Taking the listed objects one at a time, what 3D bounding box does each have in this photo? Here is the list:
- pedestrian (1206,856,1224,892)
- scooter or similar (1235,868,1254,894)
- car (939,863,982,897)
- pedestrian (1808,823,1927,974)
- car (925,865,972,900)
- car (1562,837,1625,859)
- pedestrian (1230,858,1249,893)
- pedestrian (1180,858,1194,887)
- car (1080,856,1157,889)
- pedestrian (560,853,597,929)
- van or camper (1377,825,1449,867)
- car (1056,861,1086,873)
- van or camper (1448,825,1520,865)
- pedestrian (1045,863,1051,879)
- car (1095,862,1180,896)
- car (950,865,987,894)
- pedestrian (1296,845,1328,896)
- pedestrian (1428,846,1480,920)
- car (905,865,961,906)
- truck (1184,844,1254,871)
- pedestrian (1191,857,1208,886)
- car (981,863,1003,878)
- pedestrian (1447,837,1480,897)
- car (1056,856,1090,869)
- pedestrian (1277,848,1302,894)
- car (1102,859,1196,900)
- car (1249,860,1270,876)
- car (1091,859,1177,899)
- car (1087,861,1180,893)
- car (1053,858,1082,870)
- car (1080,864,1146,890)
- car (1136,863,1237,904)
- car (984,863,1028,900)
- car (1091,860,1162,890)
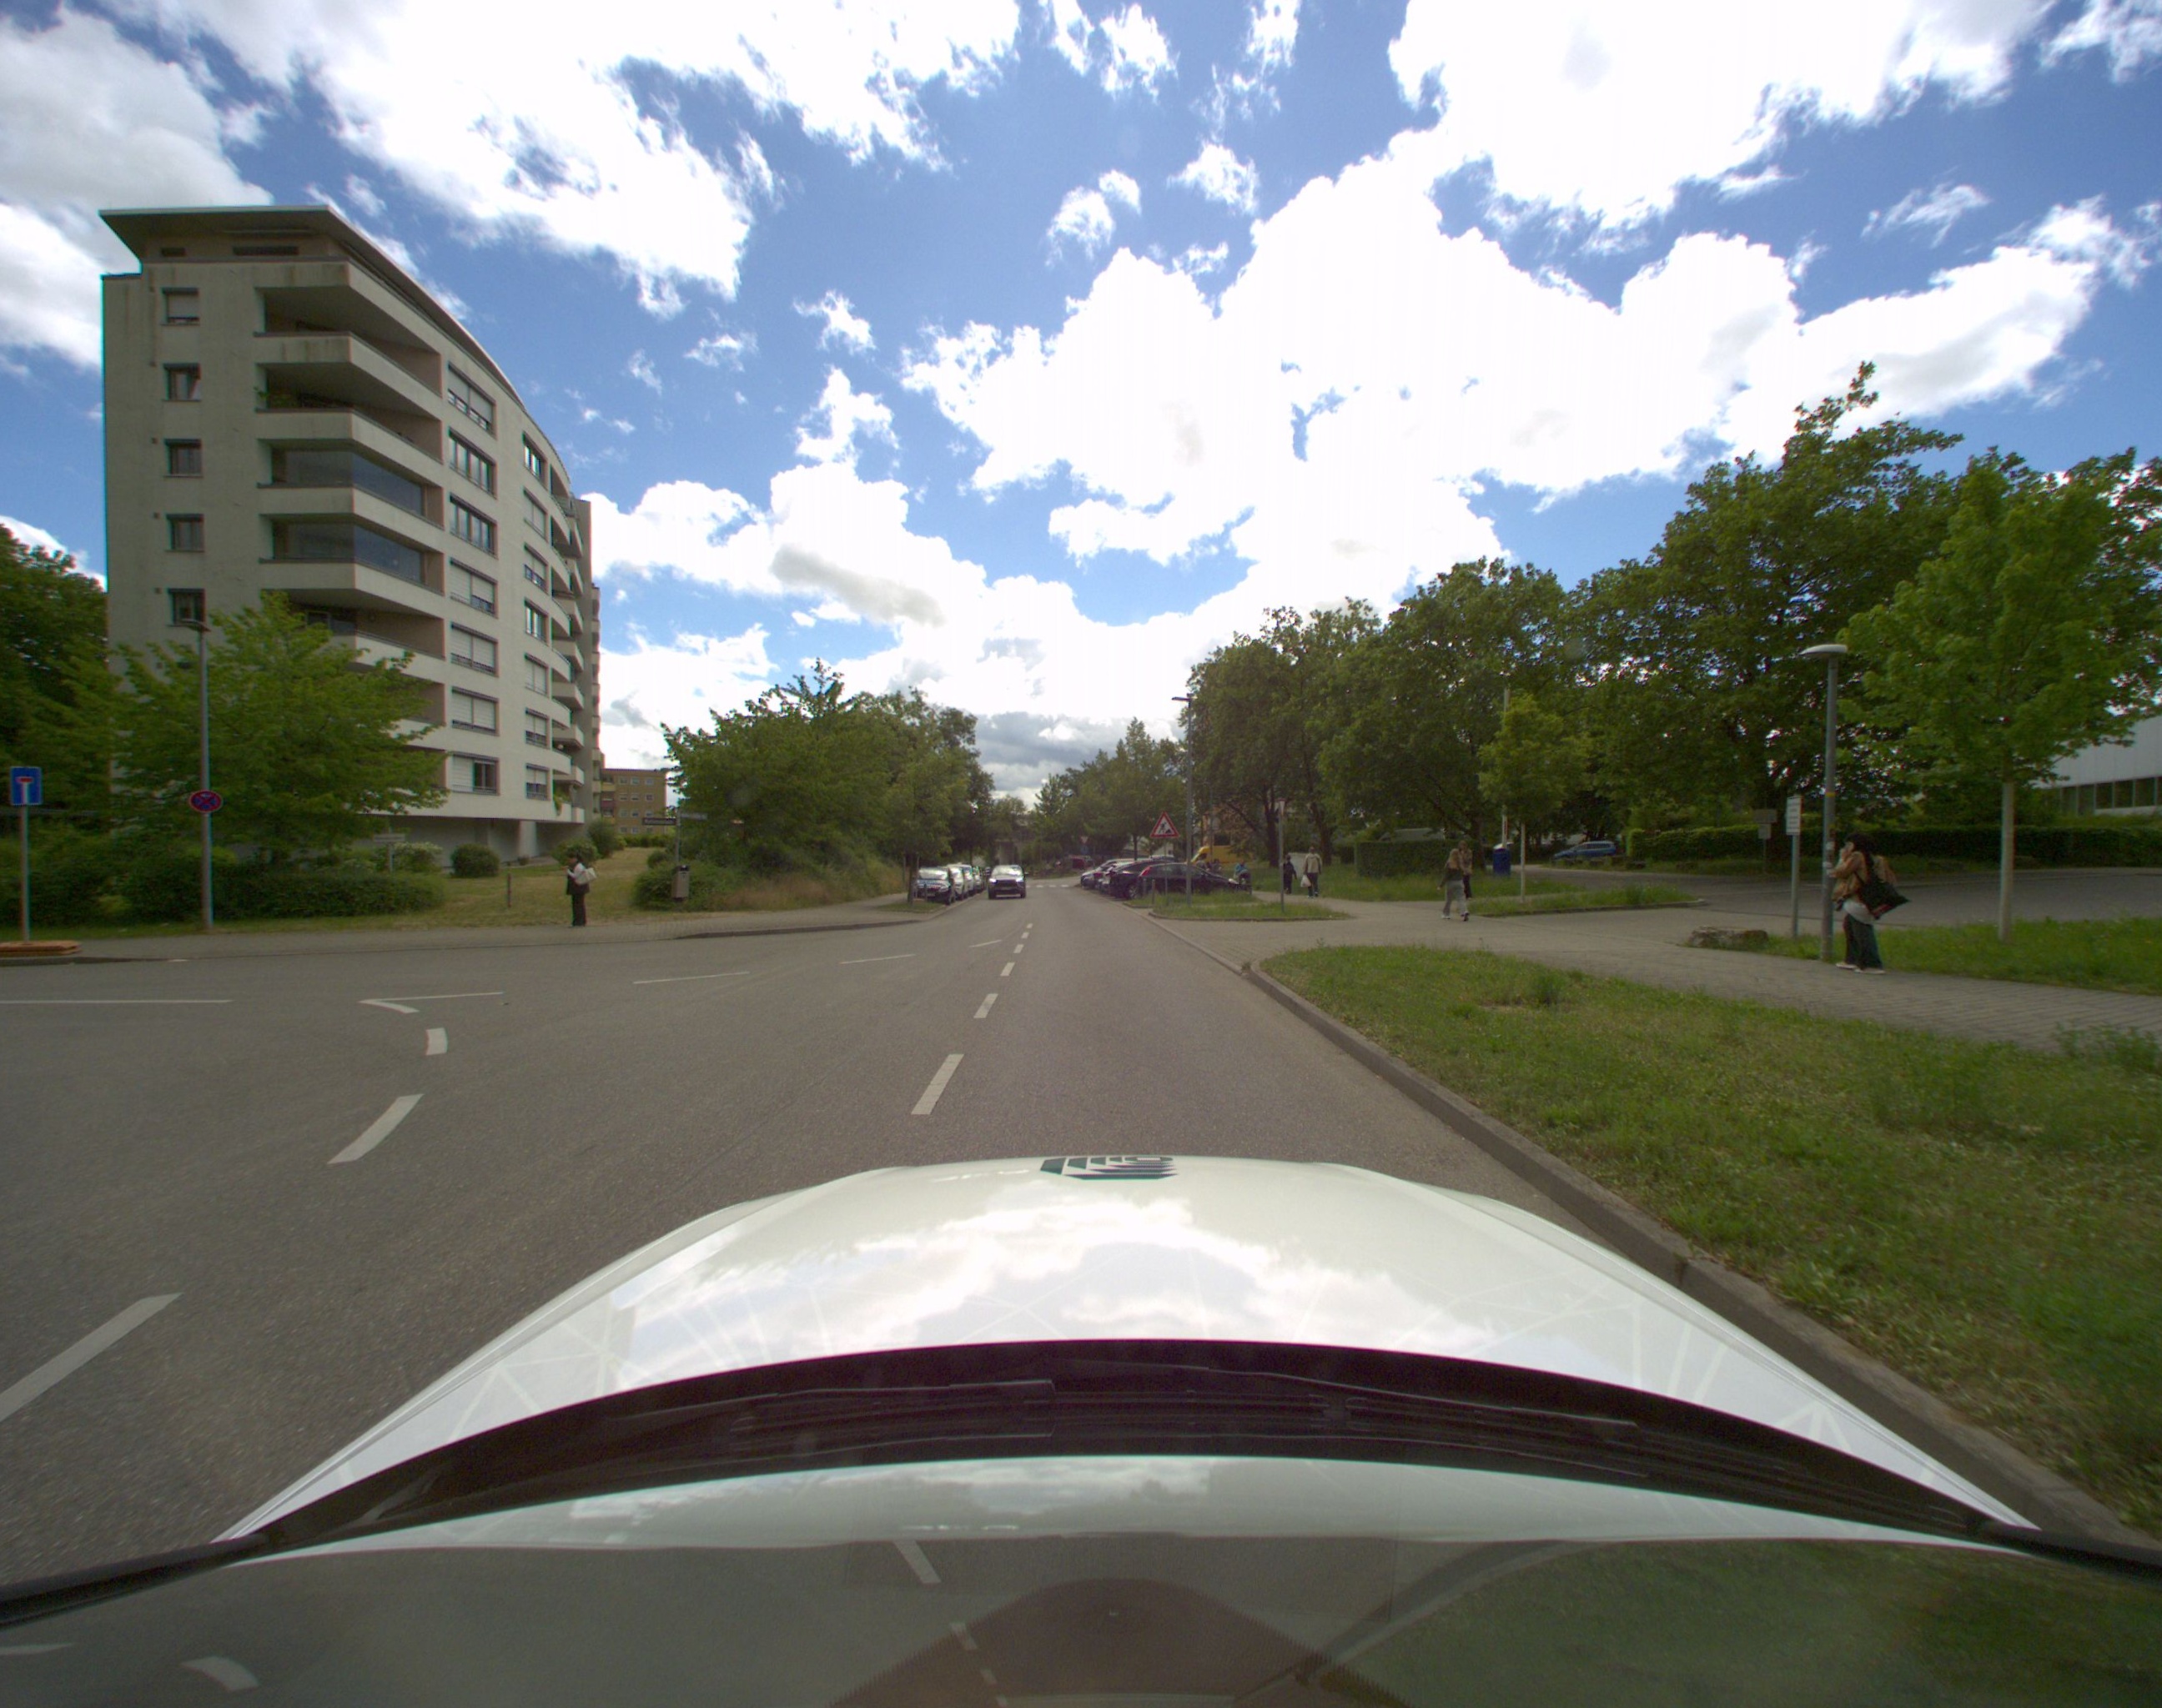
[{"bbox_3d":[6.718,0.994,40.811,0.738,1.793,0.877,0,-1,-3],"label":"pedestrian"},{"bbox_3d":[6.756,1.108,33.641,0.578,1.023,0.943,0,-1,-3],"label":"scooter or similar"},{"bbox_3d":[-6.499,1.358,44.355,1.803,1.665,4.431,2,-1,-3],"label":"car"},{"bbox_3d":[9.206,0.499,9.567,0.645,1.669,0.901,-1,-1,17],"label":"pedestrian"},{"bbox_3d":[-6.198,1.309,38.511,1.686,1.511,4.225,2,-1,-3],"label":"car"},{"bbox_3d":[38.309,-0.424,60.967,3.948,1.574,1.777,-1,-1,32],"label":"car"},{"bbox_3d":[6.713,0.893,34.495,0.617,1.468,0.735,0,-1,-3],"label":"pedestrian"},{"bbox_3d":[6.162,1.049,47.352,0.687,1.657,0.599,0,-1,-5],"label":"pedestrian"},{"bbox_3d":[2.387,1.192,52.800,4.766,1.831,1.839,-3,-1,-5],"label":"car"},{"bbox_3d":[-11.140,0.792,18.066,0.636,1.610,0.713,-1,2,-29],"label":"pedestrian"},{"bbox_3d":[23.021,-0.535,56.503,4.423,2.798,2.128,-1,-1,27],"label":"van or camper"},{"bbox_3d":[-1.222,1.578,99.403,3.636,1.439,1.685,0,-1,2],"label":"car"},{"bbox_3d":[29.018,-0.594,58.638,4.422,2.798,2.128,-1,-1,33],"label":"van or camper"},{"bbox_3d":[-3.683,1.899,91.259,0.655,1.722,0.740,0,-1,4],"label":"pedestrian"},{"bbox_3d":[2.712,1.192,39.060,3.970,1.519,1.885,-1,-2,3],"label":"car"},{"bbox_3d":[-6.871,1.511,50.010,1.795,1.615,4.473,2,-1,-3],"label":"car"},{"bbox_3d":[8.252,0.572,29.134,0.829,1.793,0.877,0,-1,-3],"label":"pedestrian"},{"bbox_3d":[8.408,0.642,18.371,0.686,1.621,0.930,0,-1,-6],"label":"pedestrian"},{"bbox_3d":[-6.031,1.251,33.534,1.686,1.487,3.949,2,-1,-3],"label":"car"},{"bbox_3d":[14.110,0.350,83.507,6.781,2.702,2.474,-1,1,-1],"label":"truck"},{"bbox_3d":[6.892,1.010,47.418,0.868,1.657,0.592,0,-1,-5],"label":"pedestrian"},{"bbox_3d":[-11.847,2.220,108.094,1.820,1.679,4.337,-1,-4,-21],"label":"car"},{"bbox_3d":[11.230,0.377,23.907,0.651,1.711,0.707,0,-1,3],"label":"pedestrian"},{"bbox_3d":[-1.132,1.133,109.697,4.529,1.668,1.944,0,-1,-1],"label":"car"},{"bbox_3d":[8.307,0.681,32.523,0.738,1.793,0.877,0,-1,-3],"label":"pedestrian"},{"bbox_3d":[2.756,1.037,33.471,3.660,1.574,1.592,-1,-2,-2],"label":"car"},{"bbox_3d":[19.320,1.470,88.239,1.561,1.659,3.780,-3,-1,3],"label":"car"},{"bbox_3d":[2.299,1.080,36.132,3.660,1.647,1.850,-1,-1,-2],"label":"car"},{"bbox_3d":[2.733,1.208,42.730,4.572,1.492,1.946,-2,-1,-8],"label":"car"},{"bbox_3d":[-1.763,1.300,104.705,3.636,1.498,1.685,0,-1,2],"label":"car"},{"bbox_3d":[1.921,1.387,49.625,3.816,1.371,1.841,-3,-1,-3],"label":"car"},{"bbox_3d":[3.983,1.114,31.099,3.660,1.498,1.644,0,1,-2],"label":"car"},{"bbox_3d":[-3.778,1.318,40.702,1.895,1.582,4.156,-5,0,-8],"label":"car"},{"bbox_3d":[2.599,1.222,47.136,3.818,1.520,1.908,-3,-1,-5],"label":"car"}]
